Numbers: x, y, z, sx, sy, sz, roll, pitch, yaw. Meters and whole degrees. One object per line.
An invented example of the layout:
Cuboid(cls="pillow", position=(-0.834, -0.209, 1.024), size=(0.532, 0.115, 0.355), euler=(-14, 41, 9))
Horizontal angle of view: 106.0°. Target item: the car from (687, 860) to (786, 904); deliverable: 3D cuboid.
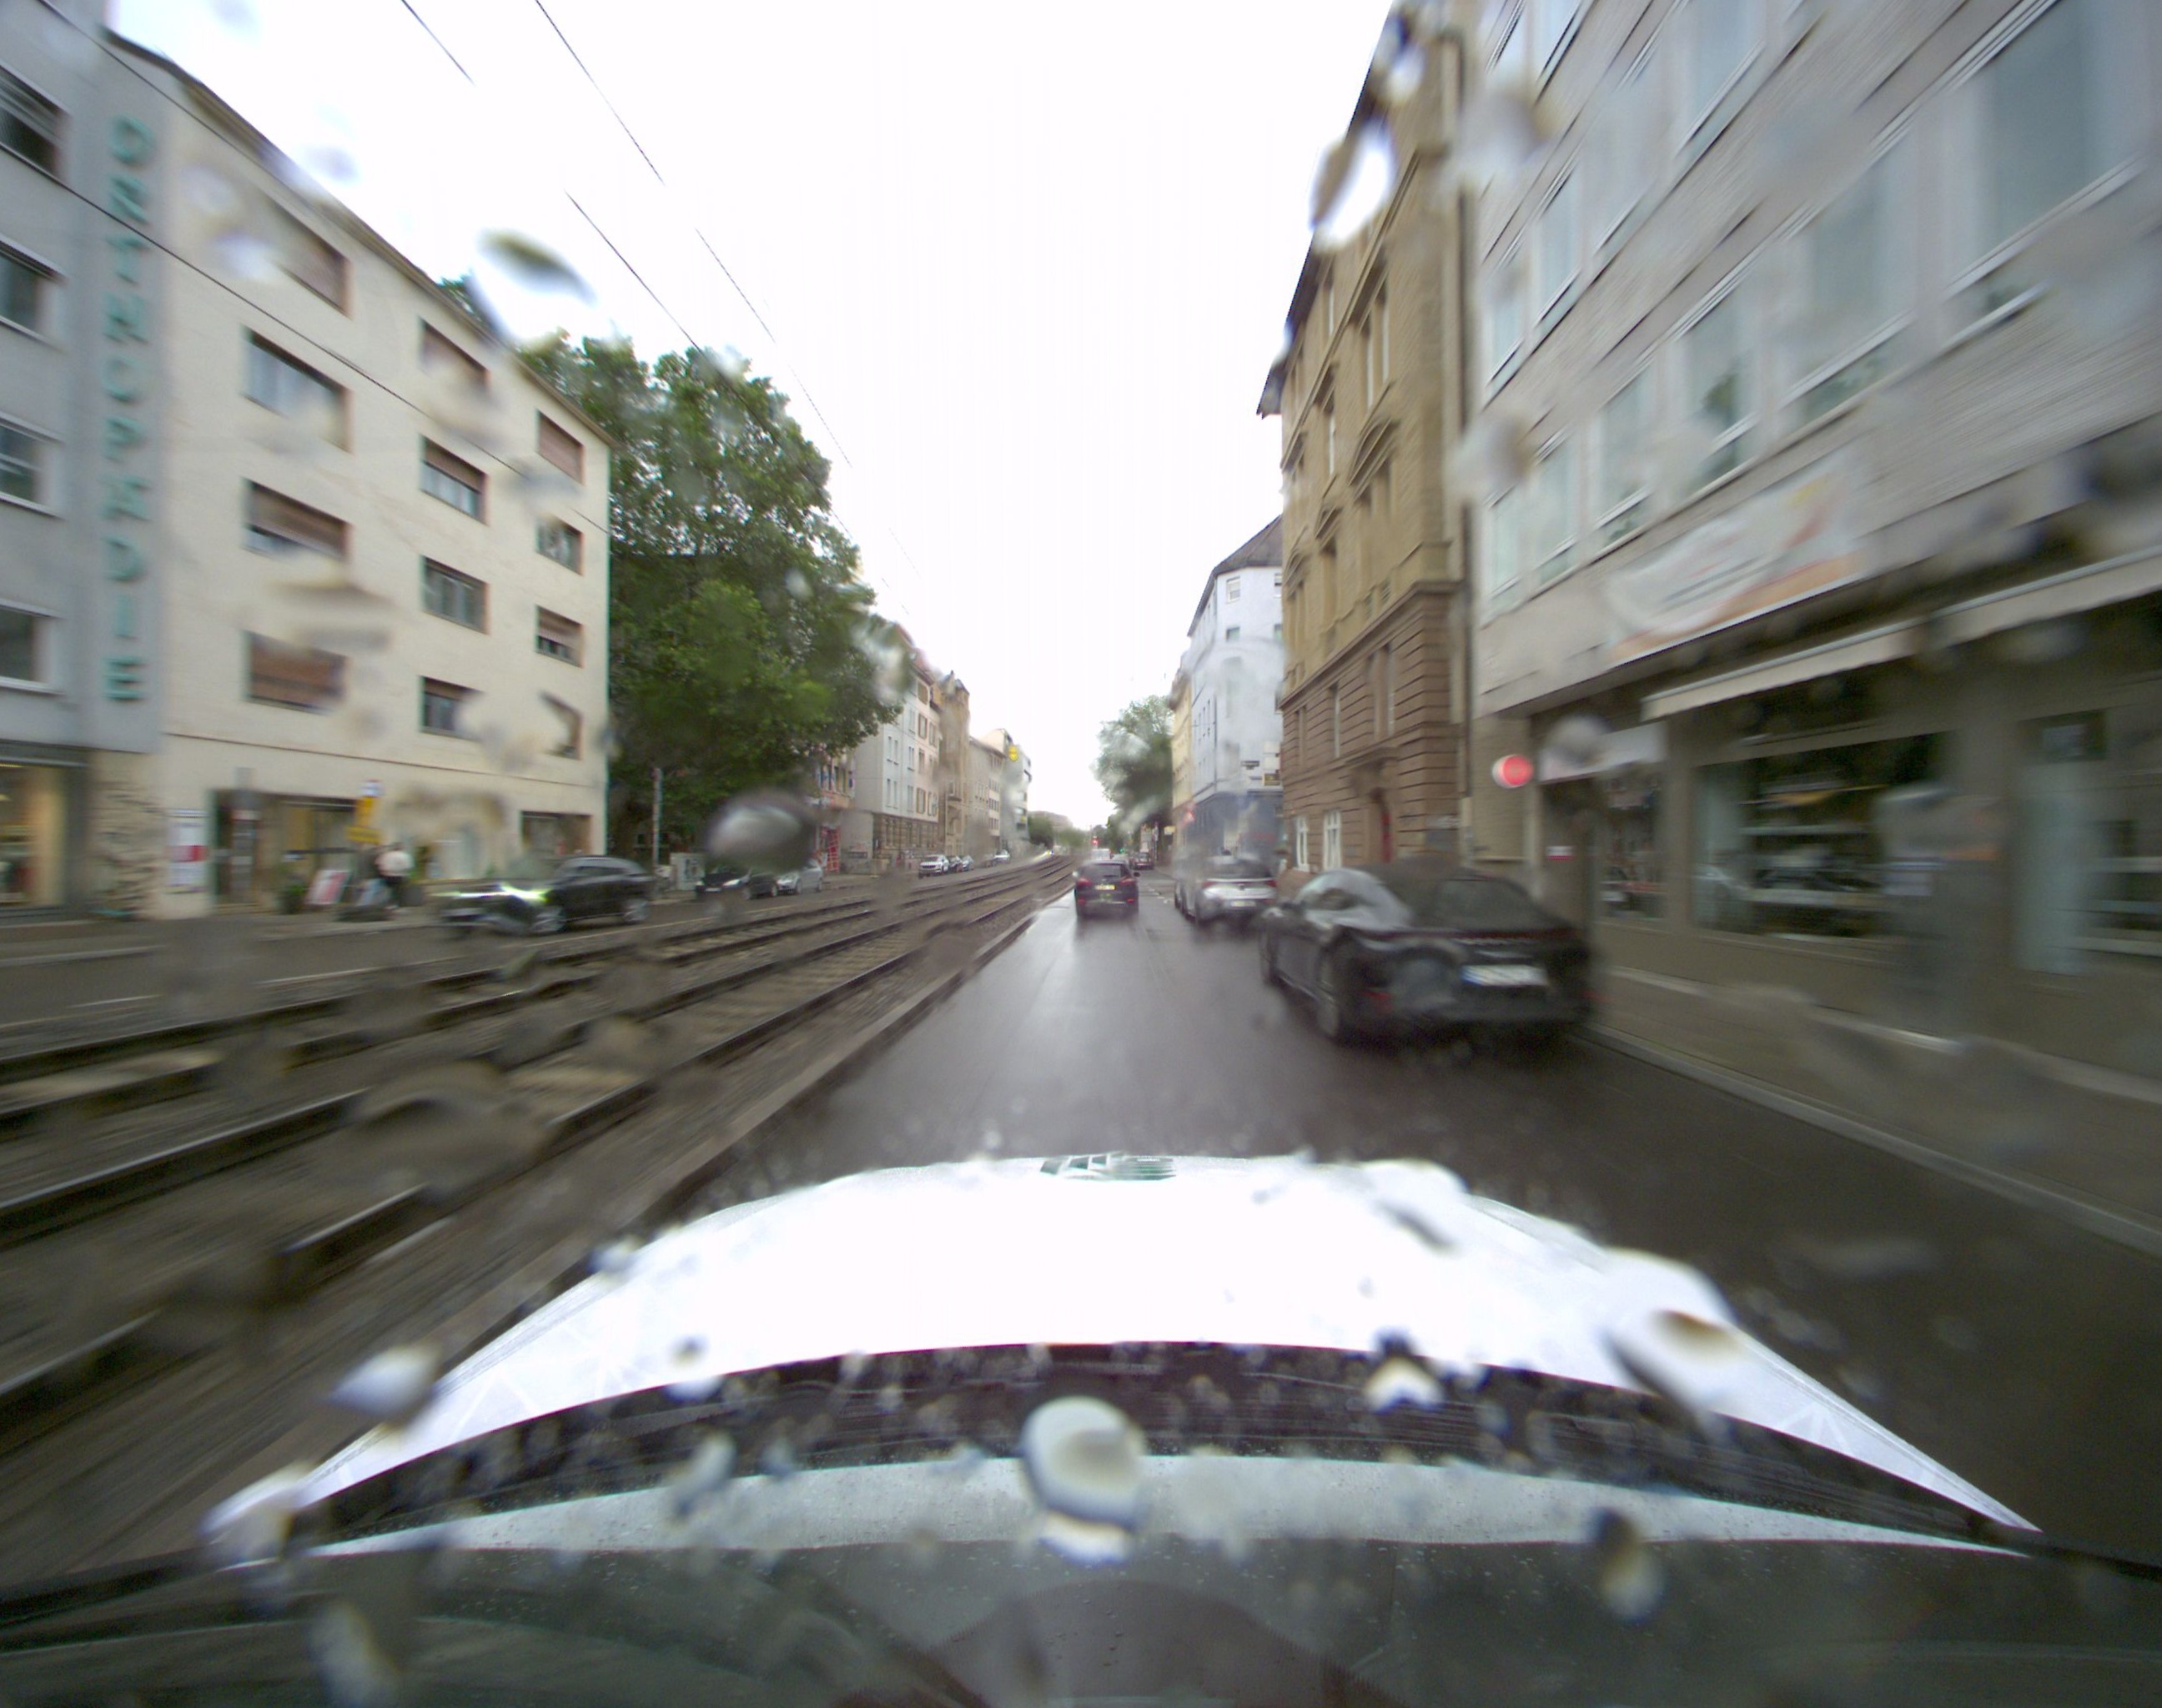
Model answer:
Cuboid(cls="car", position=(-12.699, 0.977, 30.332), size=(1.737, 1.469, 4.221), euler=(-1, 0, 2))

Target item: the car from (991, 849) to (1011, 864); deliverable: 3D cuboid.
Cuboid(cls="car", position=(-9.983, 0.305, 102.479), size=(1.987, 1.839, 5.070), euler=(1, 0, 0))

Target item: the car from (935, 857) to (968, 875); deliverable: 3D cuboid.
Cuboid(cls="car", position=(-11.032, 1.004, 69.567), size=(1.986, 1.519, 4.210), euler=(1, 0, 2))

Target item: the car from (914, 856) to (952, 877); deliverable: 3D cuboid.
Cuboid(cls="car", position=(-11.436, 0.928, 63.187), size=(1.986, 1.519, 4.437), euler=(1, 0, 2))

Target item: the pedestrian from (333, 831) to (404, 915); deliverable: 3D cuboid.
Cuboid(cls="pedestrian", position=(-16.521, 0.431, 18.910), size=(0.724, 1.896, 0.983), euler=(0, -1, 2))

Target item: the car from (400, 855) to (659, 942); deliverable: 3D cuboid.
Cuboid(cls="car", position=(-10.940, 0.792, 16.658), size=(1.984, 1.519, 4.450), euler=(1, 0, 5))

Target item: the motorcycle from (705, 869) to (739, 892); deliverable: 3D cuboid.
Cuboid(cls="motorcycle", position=(-16.921, 1.235, 38.474), size=(0.637, 1.033, 2.119), euler=(1, 0, 0))

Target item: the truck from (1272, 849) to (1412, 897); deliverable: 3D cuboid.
Cuboid(cls="truck", position=(10.540, 0.741, 33.155), size=(5.044, 1.818, 2.083), euler=(-1, 0, -2))

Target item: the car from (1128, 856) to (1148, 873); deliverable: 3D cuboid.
Cuboid(cls="car", position=(5.259, 0.968, 75.345), size=(1.637, 1.516, 4.040), euler=(0, 0, 1))

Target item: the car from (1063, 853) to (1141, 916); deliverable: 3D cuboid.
Cuboid(cls="car", position=(0.622, 0.821, 22.900), size=(1.986, 1.594, 4.273), euler=(0, -1, 2))

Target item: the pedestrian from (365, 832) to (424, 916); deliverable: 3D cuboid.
Cuboid(cls="pedestrian", position=(-15.849, 0.460, 18.806), size=(0.676, 1.896, 0.743), euler=(0, -1, 2))

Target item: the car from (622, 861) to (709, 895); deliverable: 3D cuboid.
Cuboid(cls="car", position=(-19.582, 1.089, 38.583), size=(1.986, 1.454, 4.001), euler=(-1, 0, 1))

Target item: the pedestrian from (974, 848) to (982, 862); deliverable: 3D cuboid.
Cuboid(cls="pedestrian", position=(-12.572, 0.150, 99.459), size=(0.799, 1.750, 0.984), euler=(0, 0, 1))

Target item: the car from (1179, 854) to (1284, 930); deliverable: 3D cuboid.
Cuboid(cls="car", position=(3.353, 0.782, 18.905), size=(1.740, 1.523, 4.356), euler=(0, 0, 1))

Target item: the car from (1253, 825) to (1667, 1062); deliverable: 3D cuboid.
Cuboid(cls="car", position=(3.045, 0.647, 7.811), size=(1.986, 1.594, 4.574), euler=(0, -1, 2))

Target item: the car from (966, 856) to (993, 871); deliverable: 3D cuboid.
Cuboid(cls="car", position=(-10.521, 0.953, 84.664), size=(1.986, 1.519, 4.678), euler=(1, 0, 2))

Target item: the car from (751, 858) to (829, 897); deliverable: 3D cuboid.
Cuboid(cls="car", position=(-12.456, 0.949, 35.194), size=(1.715, 1.570, 4.221), euler=(1, 0, 2))

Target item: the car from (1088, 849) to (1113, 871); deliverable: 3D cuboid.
Cuboid(cls="car", position=(1.691, 0.525, 68.479), size=(1.986, 1.816, 4.273), euler=(0, -1, 2))

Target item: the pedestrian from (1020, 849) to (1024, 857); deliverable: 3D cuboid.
Cuboid(cls="pedestrian", position=(-13.137, -0.275, 181.156), size=(0.741, 1.853, 0.839), euler=(-1, -2, 1))

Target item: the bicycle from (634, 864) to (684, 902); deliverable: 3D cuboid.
Cuboid(cls="bicycle", position=(-14.228, 0.945, 27.529), size=(0.590, 1.227, 2.399), euler=(1, -1, -5))

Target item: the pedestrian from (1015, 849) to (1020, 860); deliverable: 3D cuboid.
Cuboid(cls="pedestrian", position=(-10.745, 0.031, 137.461), size=(0.741, 1.853, 0.839), euler=(-1, -2, 1))

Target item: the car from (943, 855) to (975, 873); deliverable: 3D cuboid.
Cuboid(cls="car", position=(-11.085, 0.871, 74.280), size=(1.986, 1.519, 4.994), euler=(1, 0, 2))

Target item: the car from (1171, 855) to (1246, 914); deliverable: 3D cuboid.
Cuboid(cls="car", position=(3.616, 0.802, 23.699), size=(1.713, 1.516, 4.262), euler=(0, 0, 3))

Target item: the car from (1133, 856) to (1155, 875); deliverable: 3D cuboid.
Cuboid(cls="car", position=(5.428, 0.979, 70.734), size=(1.732, 1.489, 4.001), euler=(0, 0, 1))

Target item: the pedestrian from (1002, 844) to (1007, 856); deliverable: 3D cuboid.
Cuboid(cls="pedestrian", position=(-12.374, -0.643, 131.312), size=(0.741, 1.853, 0.839), euler=(-1, -2, 1))

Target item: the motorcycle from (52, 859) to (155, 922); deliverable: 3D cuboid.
Cuboid(cls="motorcycle", position=(-18.501, 0.684, 15.425), size=(1.472, 1.180, 0.386), euler=(1, 0, 0))

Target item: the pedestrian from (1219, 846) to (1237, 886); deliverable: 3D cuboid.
Cuboid(cls="pedestrian", position=(7.387, 0.606, 40.983), size=(0.733, 2.013, 0.821), euler=(0, 0, 1))

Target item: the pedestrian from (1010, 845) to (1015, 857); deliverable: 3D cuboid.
Cuboid(cls="pedestrian", position=(-11.079, -0.488, 131.360), size=(0.741, 1.853, 0.839), euler=(-1, -2, 1))

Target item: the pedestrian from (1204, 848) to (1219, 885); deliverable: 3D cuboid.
Cuboid(cls="pedestrian", position=(6.576, 0.636, 41.051), size=(0.659, 1.852, 0.821), euler=(0, 0, 1))
